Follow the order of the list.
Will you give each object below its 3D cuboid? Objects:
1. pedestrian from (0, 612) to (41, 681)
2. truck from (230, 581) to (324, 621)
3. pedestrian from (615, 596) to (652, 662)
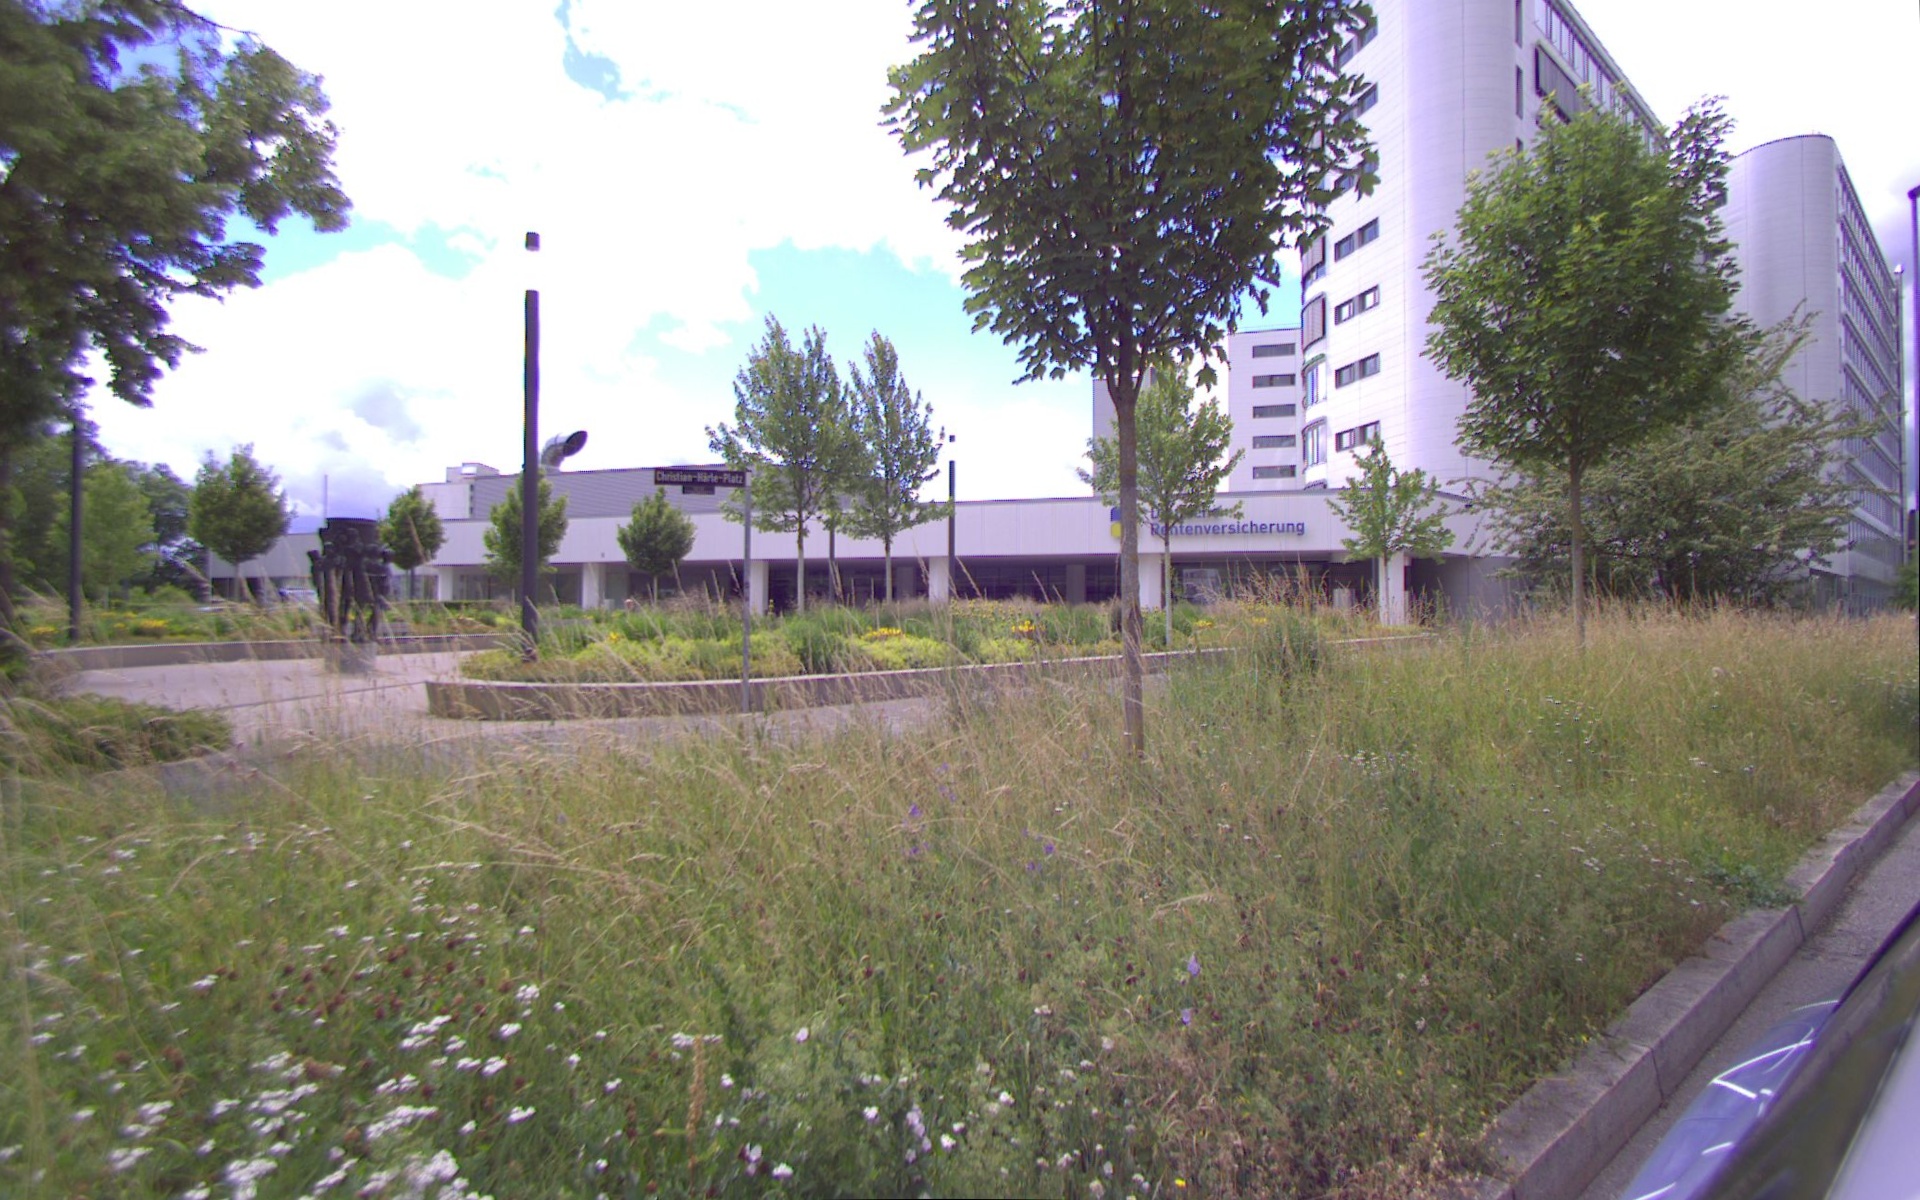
[{"bbox_3d":[-17.433,0.855,18.671,0.621,1.238,0.620,1,0,-36],"label":"pedestrian"},{"bbox_3d":[-36.145,0.050,53.574,3.941,2.039,1.991,1,0,14],"label":"truck"},{"bbox_3d":[-8.237,0.730,25.563,0.756,1.646,0.766,0,0,-8],"label":"pedestrian"}]
